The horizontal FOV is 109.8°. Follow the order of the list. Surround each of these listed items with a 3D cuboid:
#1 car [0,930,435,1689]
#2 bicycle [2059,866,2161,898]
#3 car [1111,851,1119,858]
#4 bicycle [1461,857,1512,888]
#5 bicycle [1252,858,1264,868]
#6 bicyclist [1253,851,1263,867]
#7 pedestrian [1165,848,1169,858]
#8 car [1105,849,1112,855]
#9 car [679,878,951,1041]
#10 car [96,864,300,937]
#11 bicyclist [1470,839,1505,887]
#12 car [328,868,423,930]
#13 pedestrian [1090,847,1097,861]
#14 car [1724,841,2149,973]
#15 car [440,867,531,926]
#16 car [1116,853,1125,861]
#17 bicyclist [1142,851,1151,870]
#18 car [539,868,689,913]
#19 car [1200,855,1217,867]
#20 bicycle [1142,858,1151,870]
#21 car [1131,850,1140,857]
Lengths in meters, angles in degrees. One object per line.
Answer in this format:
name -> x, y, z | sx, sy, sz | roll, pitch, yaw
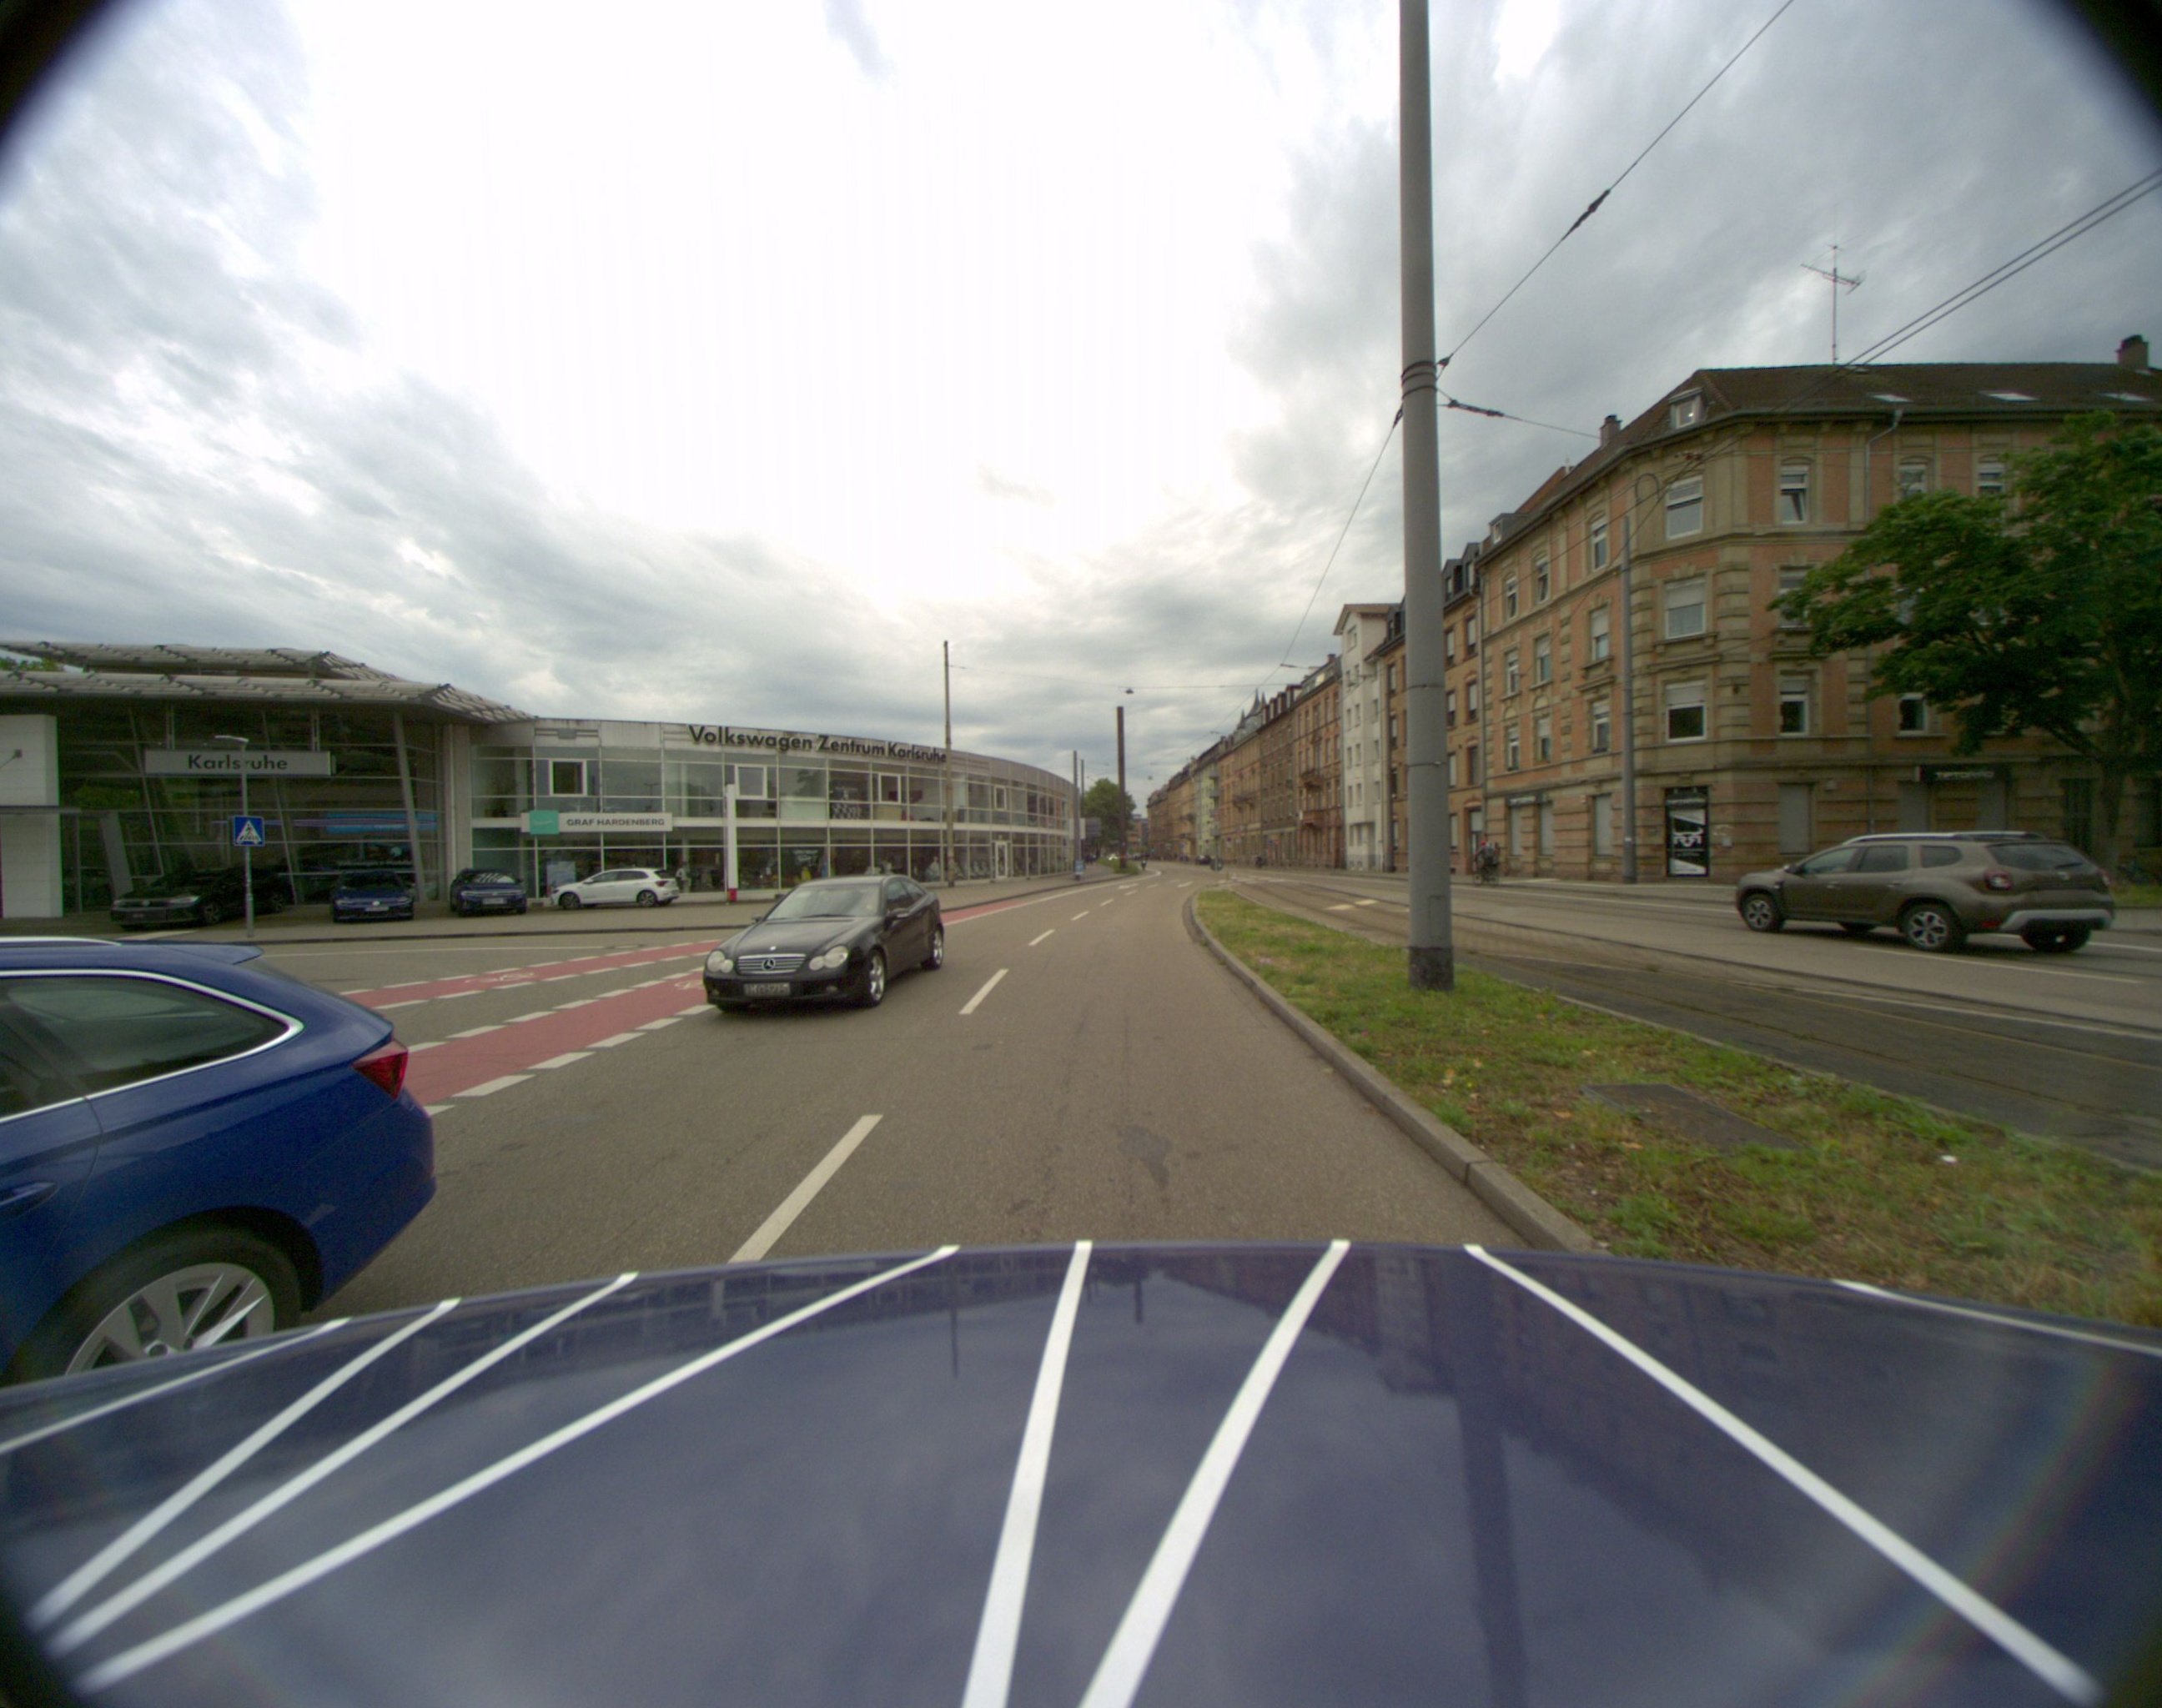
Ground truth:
car -> -3.189, 1.040, 0.411 | 1.784, 1.480, 4.465 | -1, 1, 1
bicycle -> 30.331, 0.828, 22.228 | 0.662, 0.909, 1.989 | 0, -3, -10
car -> 8.014, 0.109, 180.884 | 1.802, 1.630, 4.230 | -1, 0, 1
bicycle -> 16.261, 0.725, 30.538 | 0.826, 1.201, 2.234 | 0, 0, -1
bicycle -> 16.287, 0.803, 69.792 | 0.607, 0.910, 1.719 | -1, 0, -4
bicyclist -> 16.276, 0.436, 69.797 | 0.663, 1.486, 0.942 | -1, 1, -3
pedestrian -> 17.064, -0.233, 150.556 | 0.814, 2.002, 0.733 | -1, 1, 1
car -> 7.606, -0.679, 211.764 | 1.802, 1.630, 4.230 | -1, 0, 1
car -> -2.927, 1.090, 9.380 | 1.714, 1.413, 4.070 | -1, 0, 3
car -> -26.477, 1.299, 23.069 | 1.862, 1.624, 4.500 | -3, 4, -18
bicyclist -> 16.263, 0.366, 30.437 | 0.831, 1.881, 1.049 | 0, 0, -1
car -> -22.193, 1.322, 23.838 | 4.325, 1.496, 1.862 | 3, 3, 43
pedestrian -> 1.749, 0.020, 105.709 | 0.871, 1.843, 0.706 | -1, 1, 1
car -> 12.592, 0.655, 11.706 | 1.802, 1.630, 4.229 | -1, 0, 1
car -> -20.139, 1.353, 25.635 | 1.905, 1.554, 4.207 | -2, 3, -45
car -> 8.182, 0.687, 158.246 | 1.802, 1.630, 4.230 | -1, 0, 1
bicyclist -> 6.065, 0.574, 70.493 | 0.730, 1.747, 0.911 | -1, 1, 7
car -> -16.989, 1.295, 27.833 | 4.263, 1.444, 1.781 | -1, 0, -9
car -> 17.193, 0.911, 102.901 | 1.852, 1.471, 3.828 | -1, 0, 3
bicycle -> 6.058, 0.923, 70.316 | 0.727, 1.003, 2.177 | -1, 0, 7
car -> 12.276, -0.107, 170.384 | 1.802, 1.630, 4.230 | -1, 0, 1
